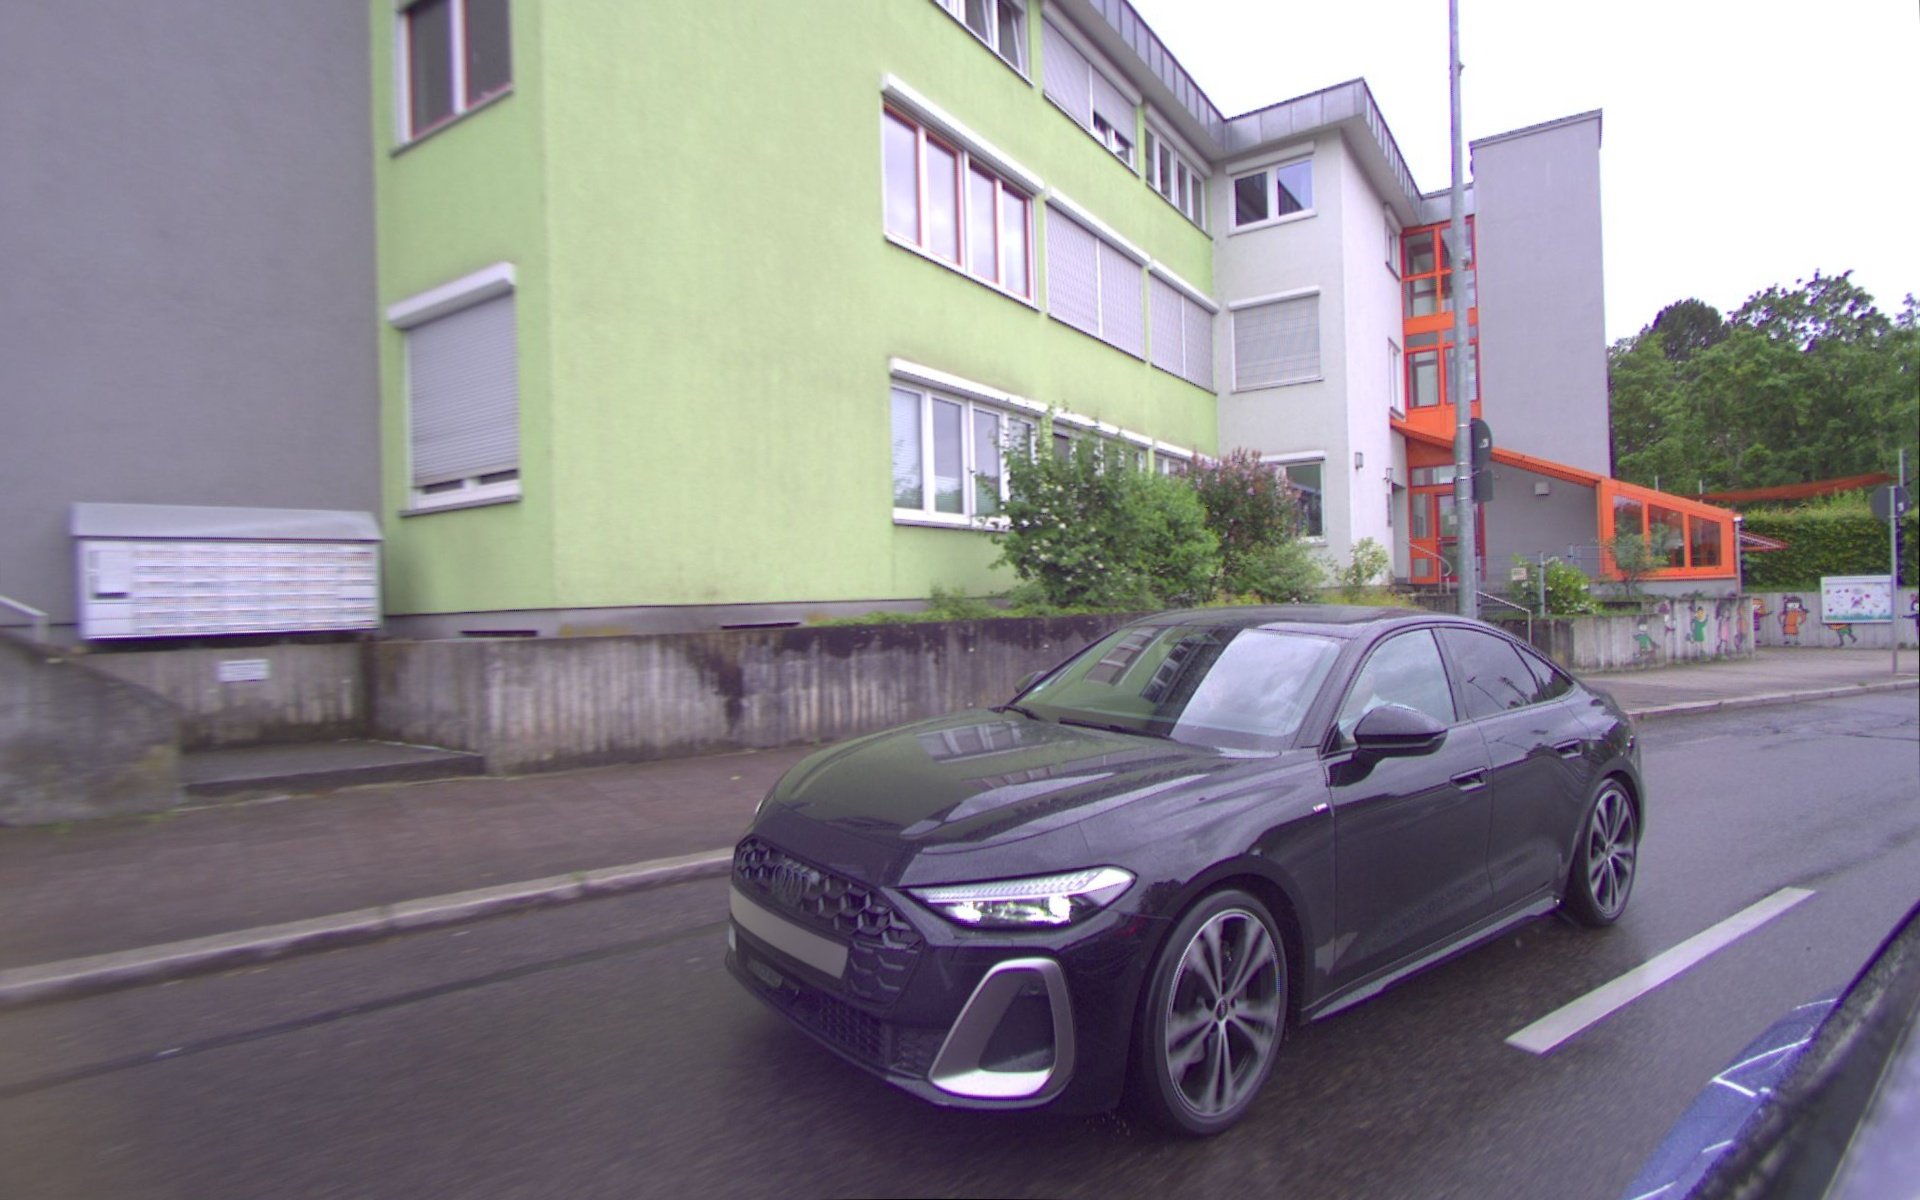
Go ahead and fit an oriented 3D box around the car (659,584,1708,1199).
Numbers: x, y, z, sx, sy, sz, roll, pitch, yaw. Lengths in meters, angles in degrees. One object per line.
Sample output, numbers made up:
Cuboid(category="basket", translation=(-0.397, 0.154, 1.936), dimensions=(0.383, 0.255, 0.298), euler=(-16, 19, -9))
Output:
Cuboid(category="car", translation=(1.326, 0.732, 4.363), dimensions=(4.654, 1.442, 1.871), euler=(-3, 1, -38))
